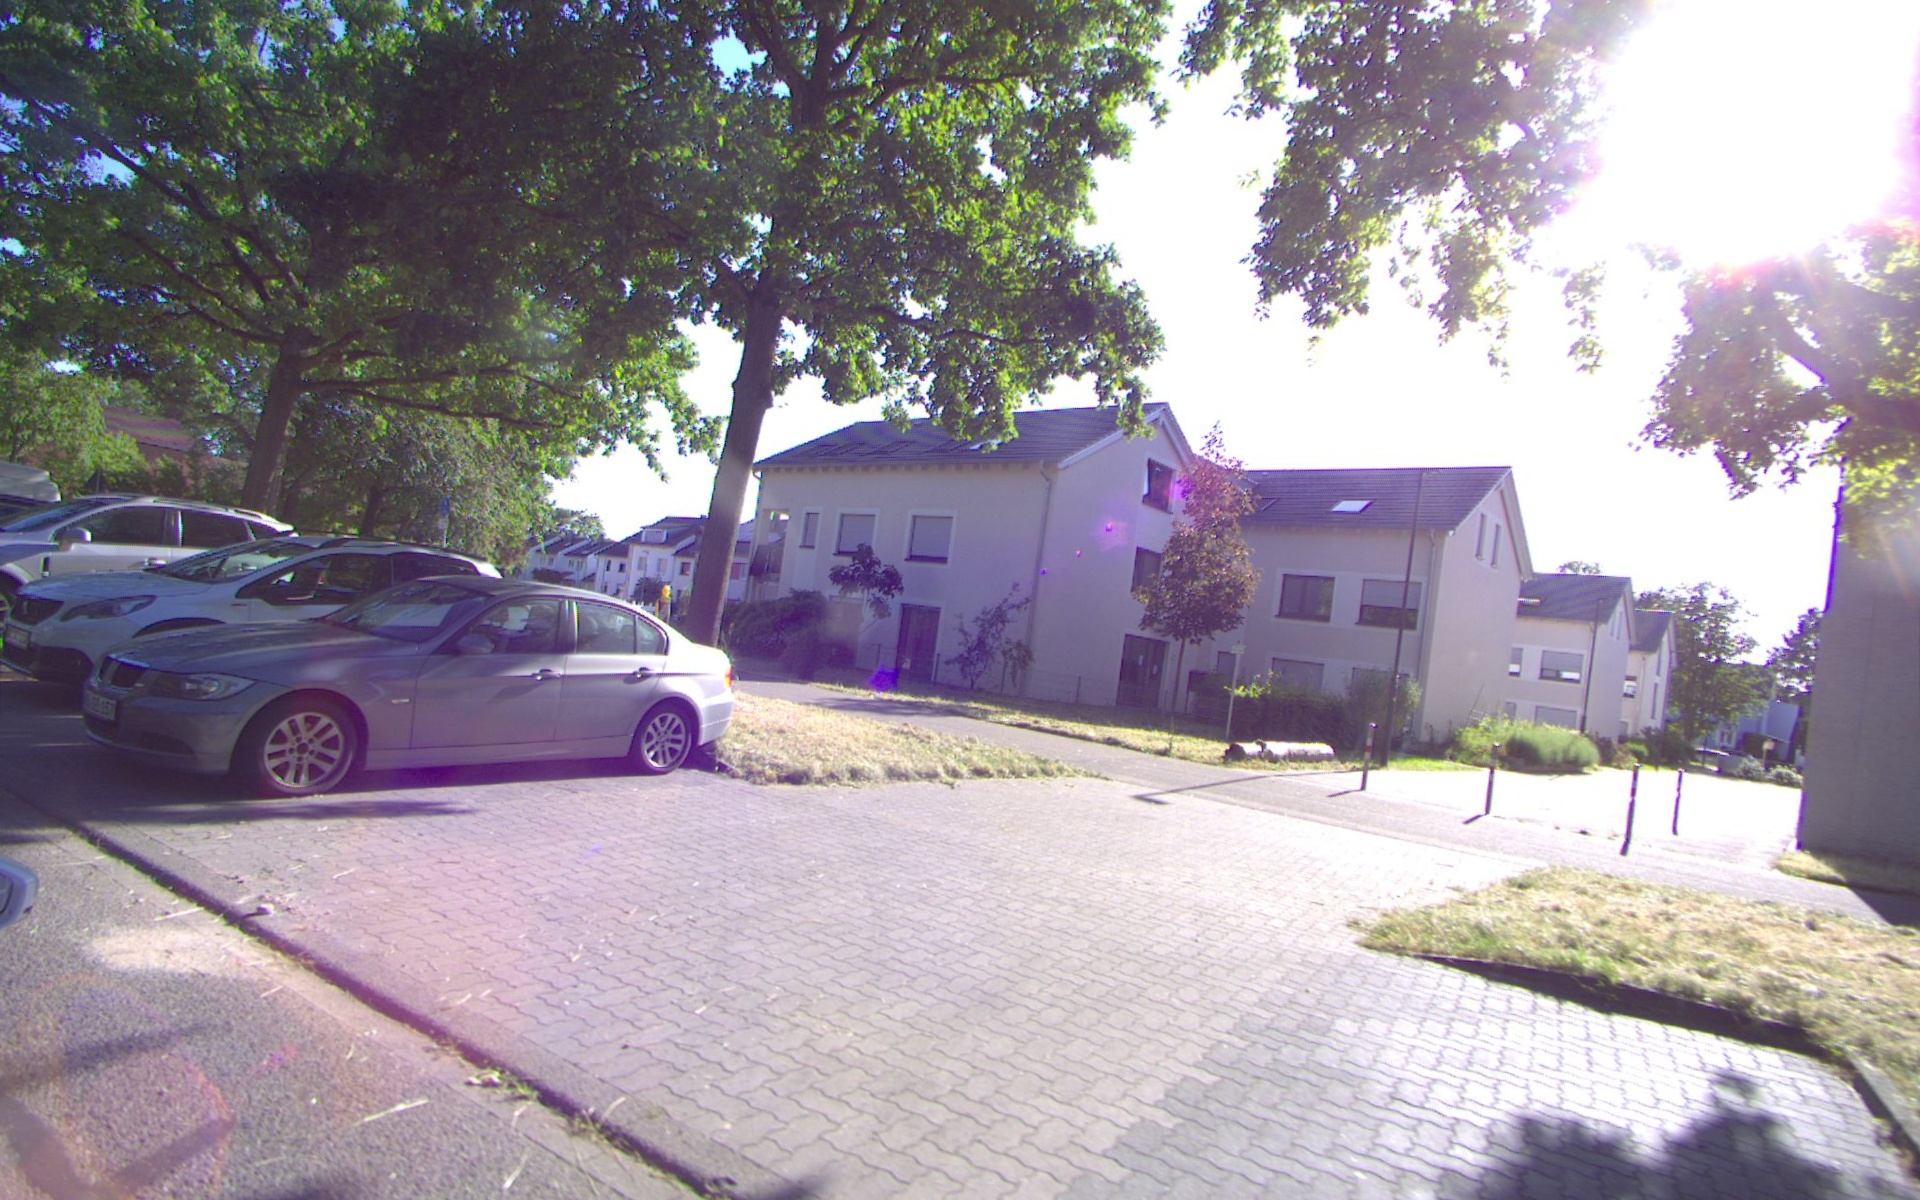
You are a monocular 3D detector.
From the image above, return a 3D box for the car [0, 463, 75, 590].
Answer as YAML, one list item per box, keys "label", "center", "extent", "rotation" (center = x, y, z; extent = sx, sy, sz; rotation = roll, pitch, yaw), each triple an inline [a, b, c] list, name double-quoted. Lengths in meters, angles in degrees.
- label: "car"
  center: [-18.595, -1.599, 16.792]
  extent: [2.047, 2.129, 5.199]
  rotation: [7, -2, 30]

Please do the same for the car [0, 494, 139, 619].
- label: "car"
  center: [-14.481, -0.833, 13.997]
  extent: [1.901, 1.586, 4.225]
  rotation: [7, -3, 30]

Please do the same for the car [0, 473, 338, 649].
- label: "car"
  center: [-10.006, -0.454, 11.583]
  extent: [1.819, 1.671, 4.392]
  rotation: [7, -1, 30]

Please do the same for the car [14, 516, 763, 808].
- label: "car"
  center: [-3.774, 0.487, 7.567]
  extent: [1.879, 1.406, 4.453]
  rotation: [7, -2, 31]

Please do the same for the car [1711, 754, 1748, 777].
- label: "car"
  center: [58.770, 12.638, 76.803]
  extent: [1.884, 1.405, 4.445]
  rotation: [7, -3, 41]

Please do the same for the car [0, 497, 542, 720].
- label: "car"
  center: [-6.125, 0.156, 9.174]
  extent: [1.747, 1.515, 3.891]
  rotation: [7, -1, 31]

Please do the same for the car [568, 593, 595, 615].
- label: "car"
  center: [-31.818, 0.302, 84.516]
  extent: [1.716, 1.573, 3.448]
  rotation: [9, -3, -25]

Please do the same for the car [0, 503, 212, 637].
- label: "car"
  center: [-12.277, -0.516, 12.752]
  extent: [1.870, 1.449, 3.994]
  rotation: [7, -2, 33]

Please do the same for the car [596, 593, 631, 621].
- label: "car"
  center: [-23.561, 0.449, 68.258]
  extent: [1.716, 1.573, 3.448]
  rotation: [9, -3, -25]
